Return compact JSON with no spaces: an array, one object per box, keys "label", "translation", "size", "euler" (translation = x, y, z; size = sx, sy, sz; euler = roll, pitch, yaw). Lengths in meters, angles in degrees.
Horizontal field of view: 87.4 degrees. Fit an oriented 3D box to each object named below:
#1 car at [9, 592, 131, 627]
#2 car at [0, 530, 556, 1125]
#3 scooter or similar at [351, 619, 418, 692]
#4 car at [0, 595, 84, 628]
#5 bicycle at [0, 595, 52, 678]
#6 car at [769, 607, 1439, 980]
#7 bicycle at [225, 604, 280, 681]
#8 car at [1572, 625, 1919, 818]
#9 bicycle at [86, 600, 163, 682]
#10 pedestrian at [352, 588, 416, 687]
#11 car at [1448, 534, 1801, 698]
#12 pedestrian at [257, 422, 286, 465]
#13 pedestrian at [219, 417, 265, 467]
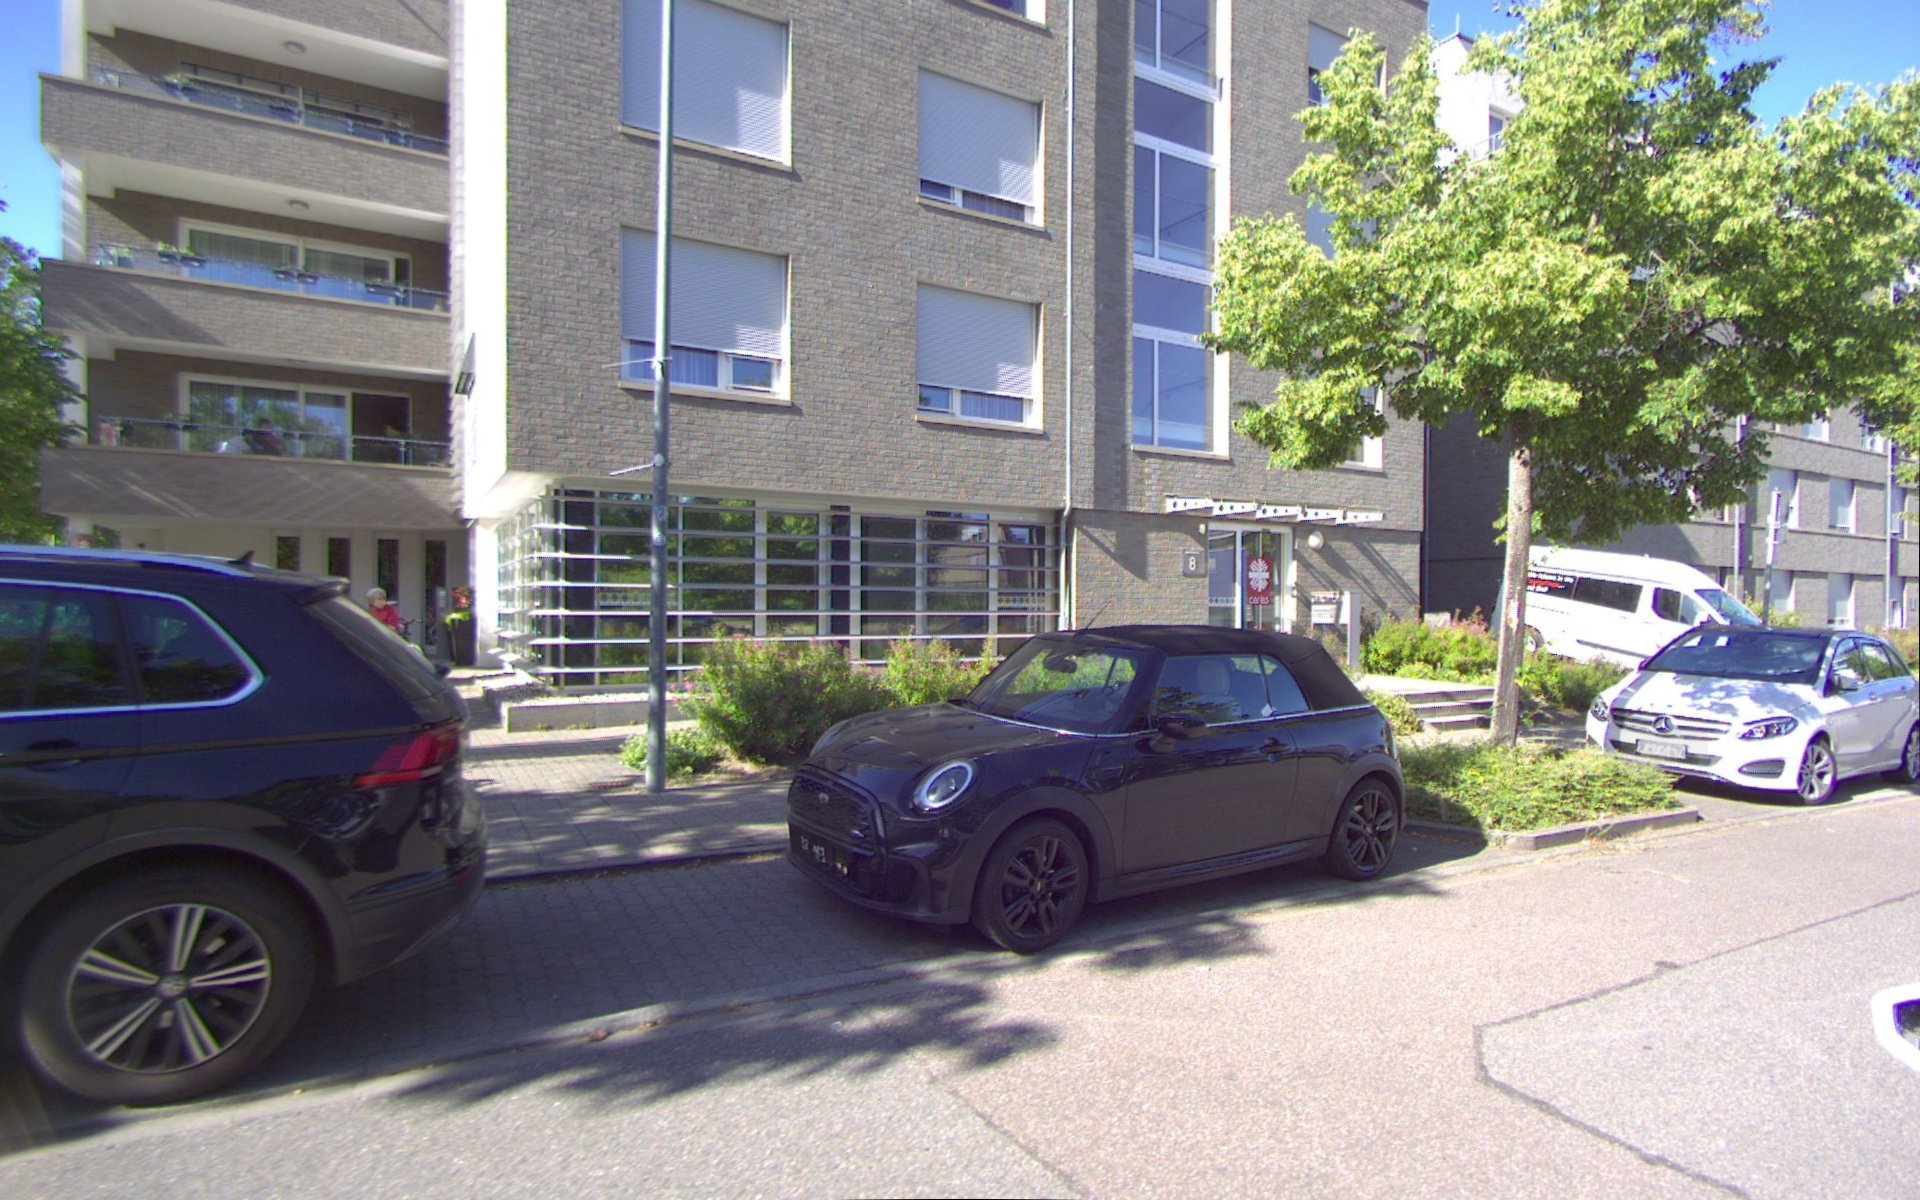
[{"label":"car","translation":[-44.549,0.432,50.397],"size":[4.187,1.624,1.938],"euler":[-1,1,-29]},{"label":"car","translation":[-3.725,0.603,3.248],"size":[4.285,1.641,1.879],"euler":[2,-1,-29]},{"label":"scooter or similar","translation":[-8.143,0.765,14.228],"size":[0.796,0.967,0.861],"euler":[0,0,-31]},{"label":"car","translation":[-44.047,0.526,47.084],"size":[4.223,1.500,1.785],"euler":[0,0,-31]},{"label":"bicycle","translation":[-13.052,0.470,13.745],"size":[0.433,1.061,2.176],"euler":[0,0,-29]},{"label":"car","translation":[0.957,0.846,5.809],"size":[3.750,1.524,1.569],"euler":[1,-2,-33]},{"label":"bicycle","translation":[-10.521,0.587,14.979],"size":[0.433,1.061,2.176],"euler":[0,0,-29]},{"label":"car","translation":[8.069,1.040,10.101],"size":[4.242,1.553,1.649],"euler":[1,-1,-34]},{"label":"bicycle","translation":[-11.755,0.538,14.181],"size":[0.433,1.061,2.176],"euler":[0,0,-29]},{"label":"pedestrian","translation":[-8.135,0.520,14.210],"size":[0.736,1.352,0.665],"euler":[1,0,-29]},{"label":"car","translation":[13.076,0.155,20.263],"size":[1.901,2.415,5.414],"euler":[1,7,-32]},{"label":"pedestrian","translation":[-12.628,-2.869,18.418],"size":[0.413,0.695,0.423],"euler":[0,0,-38]},{"label":"pedestrian","translation":[-13.363,-2.932,18.702],"size":[0.677,0.809,0.359],"euler":[0,0,-37]}]
